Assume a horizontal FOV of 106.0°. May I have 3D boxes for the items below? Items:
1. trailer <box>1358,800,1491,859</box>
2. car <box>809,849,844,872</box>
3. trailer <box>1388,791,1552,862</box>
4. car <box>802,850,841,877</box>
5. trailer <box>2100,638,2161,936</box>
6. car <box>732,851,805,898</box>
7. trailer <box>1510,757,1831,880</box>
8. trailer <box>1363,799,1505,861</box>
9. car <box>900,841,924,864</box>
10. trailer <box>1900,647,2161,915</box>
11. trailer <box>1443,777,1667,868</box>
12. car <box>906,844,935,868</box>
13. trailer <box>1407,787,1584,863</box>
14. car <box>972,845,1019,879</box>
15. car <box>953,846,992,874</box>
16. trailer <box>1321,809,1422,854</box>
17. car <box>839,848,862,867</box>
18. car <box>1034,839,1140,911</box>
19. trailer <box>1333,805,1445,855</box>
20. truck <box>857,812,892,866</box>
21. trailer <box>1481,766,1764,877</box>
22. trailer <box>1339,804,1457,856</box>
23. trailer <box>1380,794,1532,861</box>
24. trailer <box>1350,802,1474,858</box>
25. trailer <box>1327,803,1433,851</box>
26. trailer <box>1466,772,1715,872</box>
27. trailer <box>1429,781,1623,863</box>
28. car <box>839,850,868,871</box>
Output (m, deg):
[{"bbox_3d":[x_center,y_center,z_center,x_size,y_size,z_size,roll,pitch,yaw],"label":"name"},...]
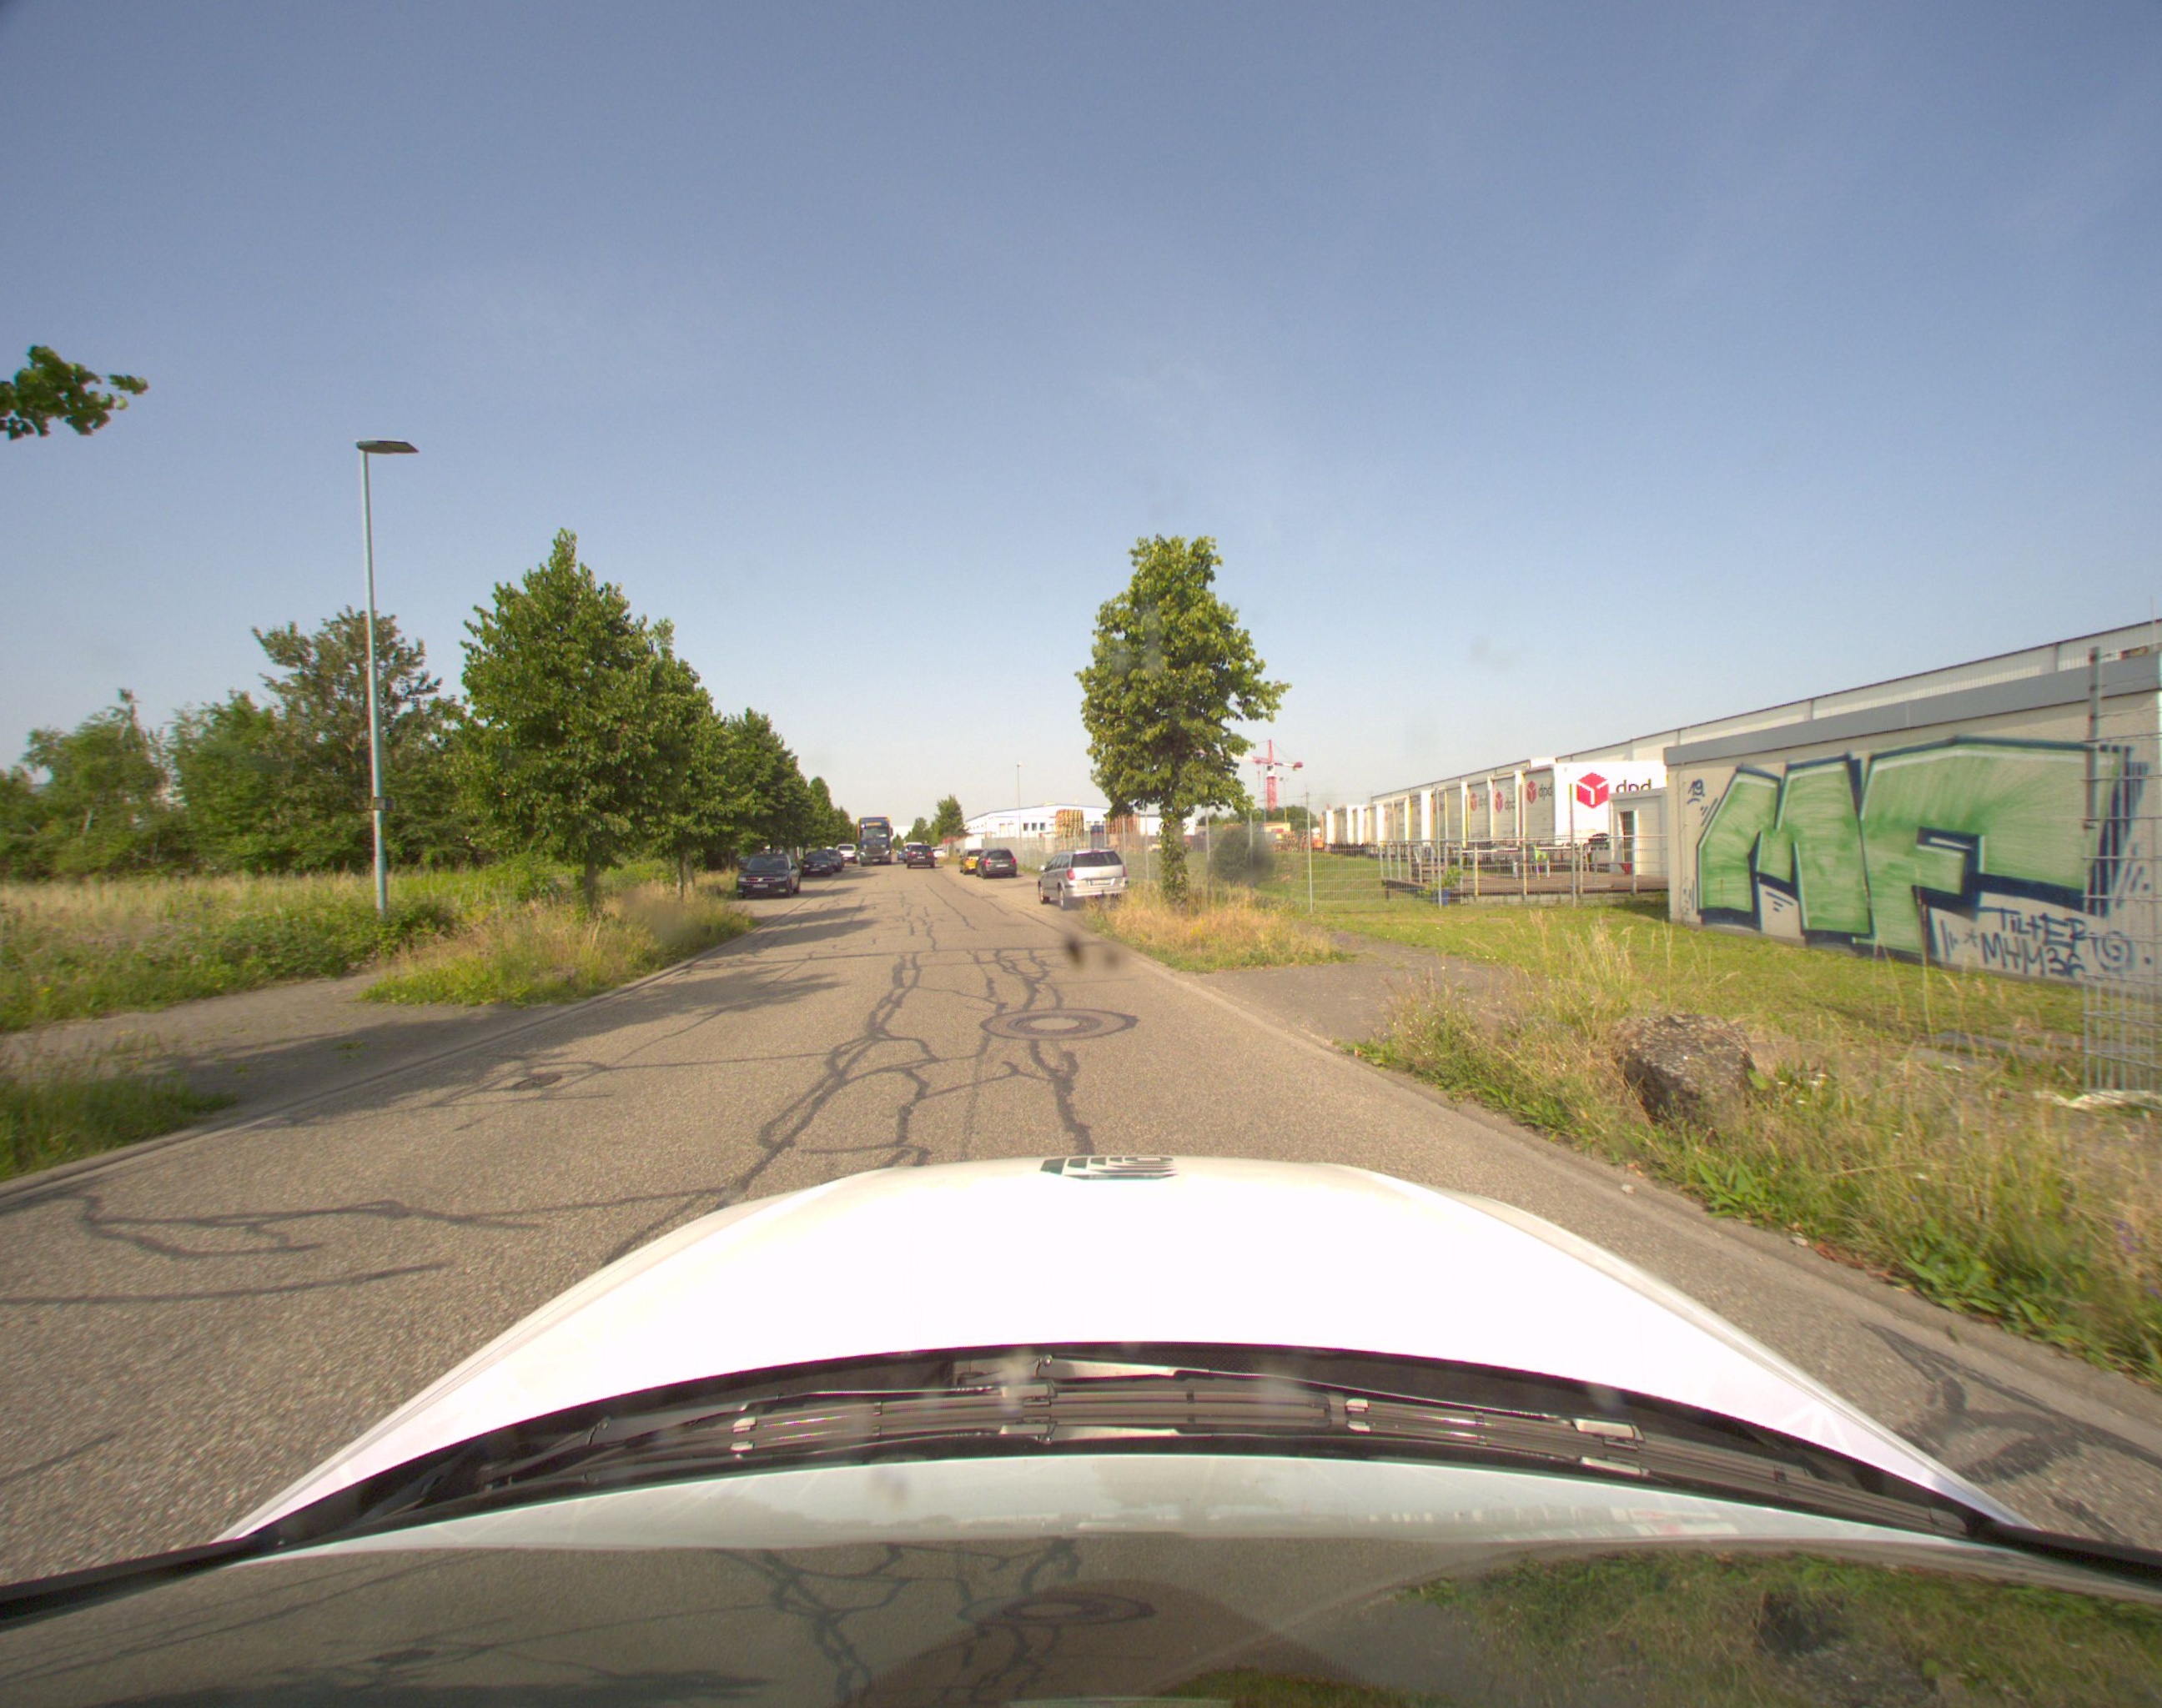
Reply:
[{"bbox_3d":[23.435,-1.683,55.872,7.923,3.893,2.781,0,2,5],"label":"trailer"},{"bbox_3d":[-16.874,0.407,54.163,1.834,1.496,4.033,0,1,-12],"label":"car"},{"bbox_3d":[21.983,-1.583,46.409,7.923,3.893,2.781,0,2,5],"label":"trailer"},{"bbox_3d":[-15.342,0.550,48.298,1.834,1.496,4.033,0,1,-12],"label":"car"},{"bbox_3d":[18.285,-1.011,9.470,8.489,3.893,2.782,-2,0,7],"label":"trailer"},{"bbox_3d":[-11.808,0.716,31.021,1.904,1.626,4.431,0,1,-12],"label":"car"},{"bbox_3d":[19.499,-1.196,27.410,8.494,3.893,2.781,0,2,5],"label":"trailer"},{"bbox_3d":[22.678,-1.559,52.632,7.923,3.893,2.781,0,2,5],"label":"trailer"},{"bbox_3d":[-15.878,-0.150,76.709,2.123,2.110,4.606,-2,0,-12],"label":"car"},{"bbox_3d":[18.614,-1.083,12.534,8.688,3.760,2.795,-1,0,6],"label":"trailer"},{"bbox_3d":[20.989,-1.423,36.482,8.266,3.893,2.781,0,2,5],"label":"trailer"},{"bbox_3d":[-11.247,0.137,57.195,1.881,1.586,4.098,-2,0,-11],"label":"car"},{"bbox_3d":[21.878,-1.551,43.382,7.923,3.893,2.781,0,2,5],"label":"trailer"},{"bbox_3d":[-4.412,0.372,41.661,1.718,1.515,3.984,-4,1,-15],"label":"car"},{"bbox_3d":[-6.283,0.317,46.832,1.717,1.455,4.167,-4,1,-14],"label":"car"},{"bbox_3d":[25.353,-1.981,71.317,7.923,3.893,2.747,0,2,5],"label":"trailer"},{"bbox_3d":[-21.790,0.281,77.183,1.834,1.762,4.033,0,1,-12],"label":"car"},{"bbox_3d":[0.042,0.479,21.882,1.801,1.625,4.429,-4,1,-13],"label":"car"},{"bbox_3d":[24.530,-1.944,65.248,7.923,3.893,2.781,0,2,5],"label":"trailer"},{"bbox_3d":[-17.604,-1.266,69.803,2.501,4.145,10.332,-3,1,-13],"label":"truck"},{"bbox_3d":[19.946,-1.226,30.474,8.494,3.893,2.781,0,2,5],"label":"trailer"},{"bbox_3d":[24.125,-1.855,62.331,7.923,3.893,2.781,0,2,5],"label":"trailer"},{"bbox_3d":[22.656,-1.637,49.575,7.923,3.893,2.781,0,2,5],"label":"trailer"},{"bbox_3d":[23.939,-1.759,59.259,7.923,3.893,2.781,0,2,5],"label":"trailer"},{"bbox_3d":[24.952,-2.282,68.298,7.923,3.893,2.747,0,2,5],"label":"trailer"},{"bbox_3d":[20.634,-1.315,33.434,8.266,3.893,2.781,0,2,5],"label":"trailer"},{"bbox_3d":[21.840,-1.603,40.382,7.993,3.893,2.781,0,2,5],"label":"trailer"},{"bbox_3d":[-17.364,0.473,62.305,1.834,1.496,4.033,0,1,-12],"label":"car"}]
